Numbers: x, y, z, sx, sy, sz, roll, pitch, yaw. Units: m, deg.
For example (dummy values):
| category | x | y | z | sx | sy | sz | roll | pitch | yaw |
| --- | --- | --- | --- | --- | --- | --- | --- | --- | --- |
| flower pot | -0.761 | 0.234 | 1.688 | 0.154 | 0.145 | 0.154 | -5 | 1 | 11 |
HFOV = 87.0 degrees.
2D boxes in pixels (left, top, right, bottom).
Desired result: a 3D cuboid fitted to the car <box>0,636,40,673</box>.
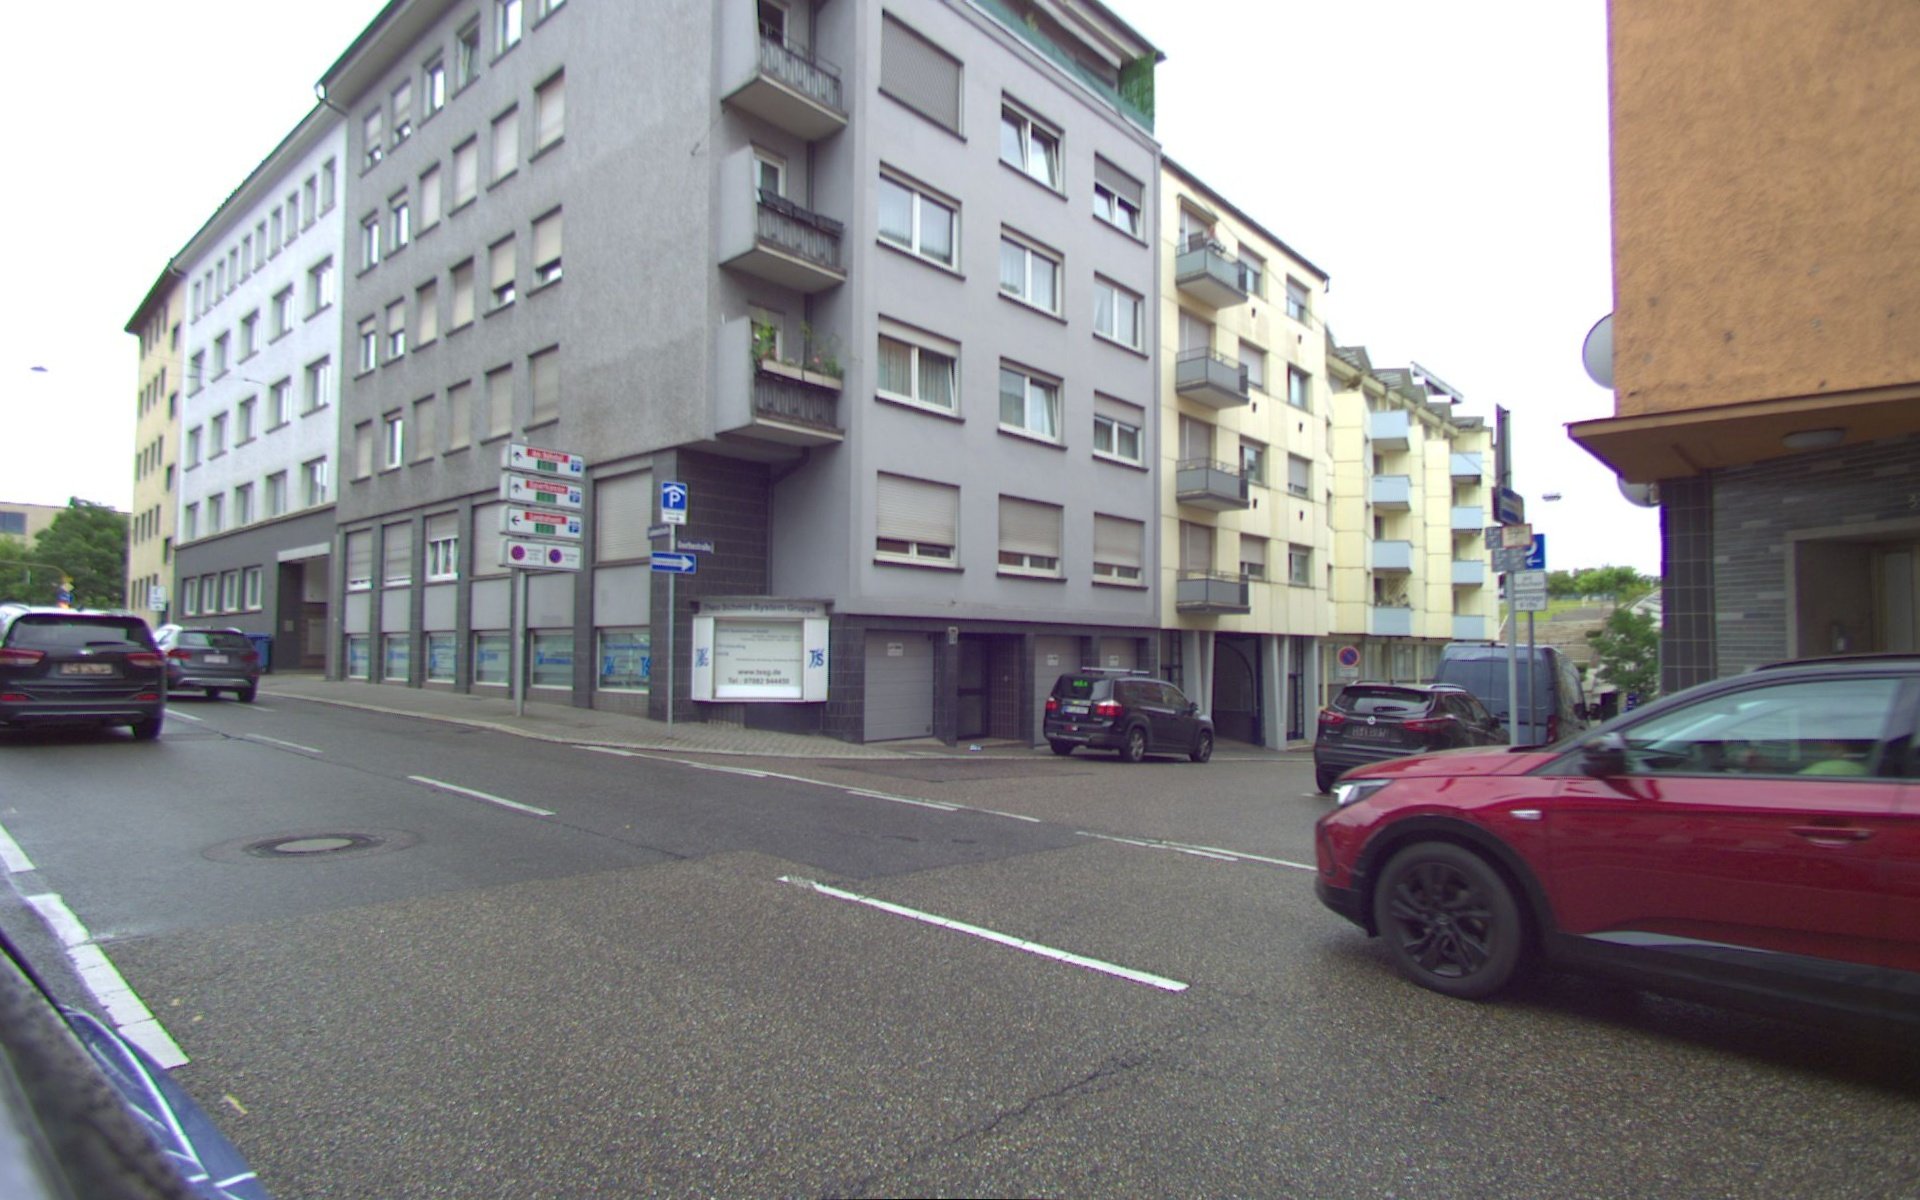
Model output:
| category | x | y | z | sx | sy | sz | roll | pitch | yaw |
| --- | --- | --- | --- | --- | --- | --- | --- | --- | --- |
| car | -43.992 | 2.464 | 46.619 | 4.371 | 1.602 | 1.858 | -1 | -3 | 41 |

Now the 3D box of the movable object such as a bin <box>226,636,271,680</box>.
| category | x | y | z | sx | sy | sz | roll | pitch | yaw |
| --- | --- | --- | --- | --- | --- | --- | --- | --- | --- |
| movable object such as a bin | -22.844 | 1.851 | 32.475 | 1.096 | 1.343 | 0.933 | -1 | 0 | 41 |

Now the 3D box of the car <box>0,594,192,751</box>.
| category | x | y | z | sx | sy | sz | roll | pitch | yaw |
| --- | --- | --- | --- | --- | --- | --- | --- | --- | --- |
| car | -11.888 | 0.900 | 13.335 | 4.471 | 1.740 | 1.817 | -1 | -5 | 41 |

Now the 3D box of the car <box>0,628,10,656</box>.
| category | x | y | z | sx | sy | sz | roll | pitch | yaw |
| --- | --- | --- | --- | --- | --- | --- | --- | --- | --- |
| car | -53.645 | 2.234 | 54.169 | 1.738 | 1.519 | 3.944 | -1 | -3 | 42 |

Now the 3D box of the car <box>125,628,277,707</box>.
| category | x | y | z | sx | sy | sz | roll | pitch | yaw |
| --- | --- | --- | --- | --- | --- | --- | --- | --- | --- |
| car | -16.401 | 1.420 | 21.795 | 4.157 | 1.519 | 1.685 | -1 | -5 | 41 |

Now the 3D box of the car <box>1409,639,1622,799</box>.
| category | x | y | z | sx | sy | sz | roll | pitch | yaw |
| --- | --- | --- | --- | --- | --- | --- | --- | --- | --- |
| car | 10.500 | 2.219 | 18.824 | 2.249 | 2.481 | 5.975 | -1 | -7 | 41 |

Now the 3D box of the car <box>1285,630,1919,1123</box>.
| category | x | y | z | sx | sy | sz | roll | pitch | yaw |
| --- | --- | --- | --- | --- | --- | --- | --- | --- | --- |
| car | 3.714 | 0.956 | 3.996 | 1.775 | 1.596 | 4.320 | 5 | -5 | -43 |

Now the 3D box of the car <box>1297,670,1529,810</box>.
| category | x | y | z | sx | sy | sz | roll | pitch | yaw |
| --- | --- | --- | --- | --- | --- | --- | --- | --- | --- |
| car | 6.444 | 1.953 | 14.135 | 1.842 | 1.589 | 4.098 | -1 | -8 | 41 |

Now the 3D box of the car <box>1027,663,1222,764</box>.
| category | x | y | z | sx | sy | sz | roll | pitch | yaw |
| --- | --- | --- | --- | --- | --- | --- | --- | --- | --- |
| car | 3.341 | 2.280 | 19.917 | 1.794 | 1.700 | 4.186 | -1 | -8 | 41 |

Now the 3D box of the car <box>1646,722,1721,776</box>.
| category | x | y | z | sx | sy | sz | roll | pitch | yaw |
| --- | --- | --- | --- | --- | --- | --- | --- | --- | --- |
| car | 25.956 | 5.341 | 36.260 | 1.817 | 1.688 | 3.998 | -1 | -8 | 41 |
